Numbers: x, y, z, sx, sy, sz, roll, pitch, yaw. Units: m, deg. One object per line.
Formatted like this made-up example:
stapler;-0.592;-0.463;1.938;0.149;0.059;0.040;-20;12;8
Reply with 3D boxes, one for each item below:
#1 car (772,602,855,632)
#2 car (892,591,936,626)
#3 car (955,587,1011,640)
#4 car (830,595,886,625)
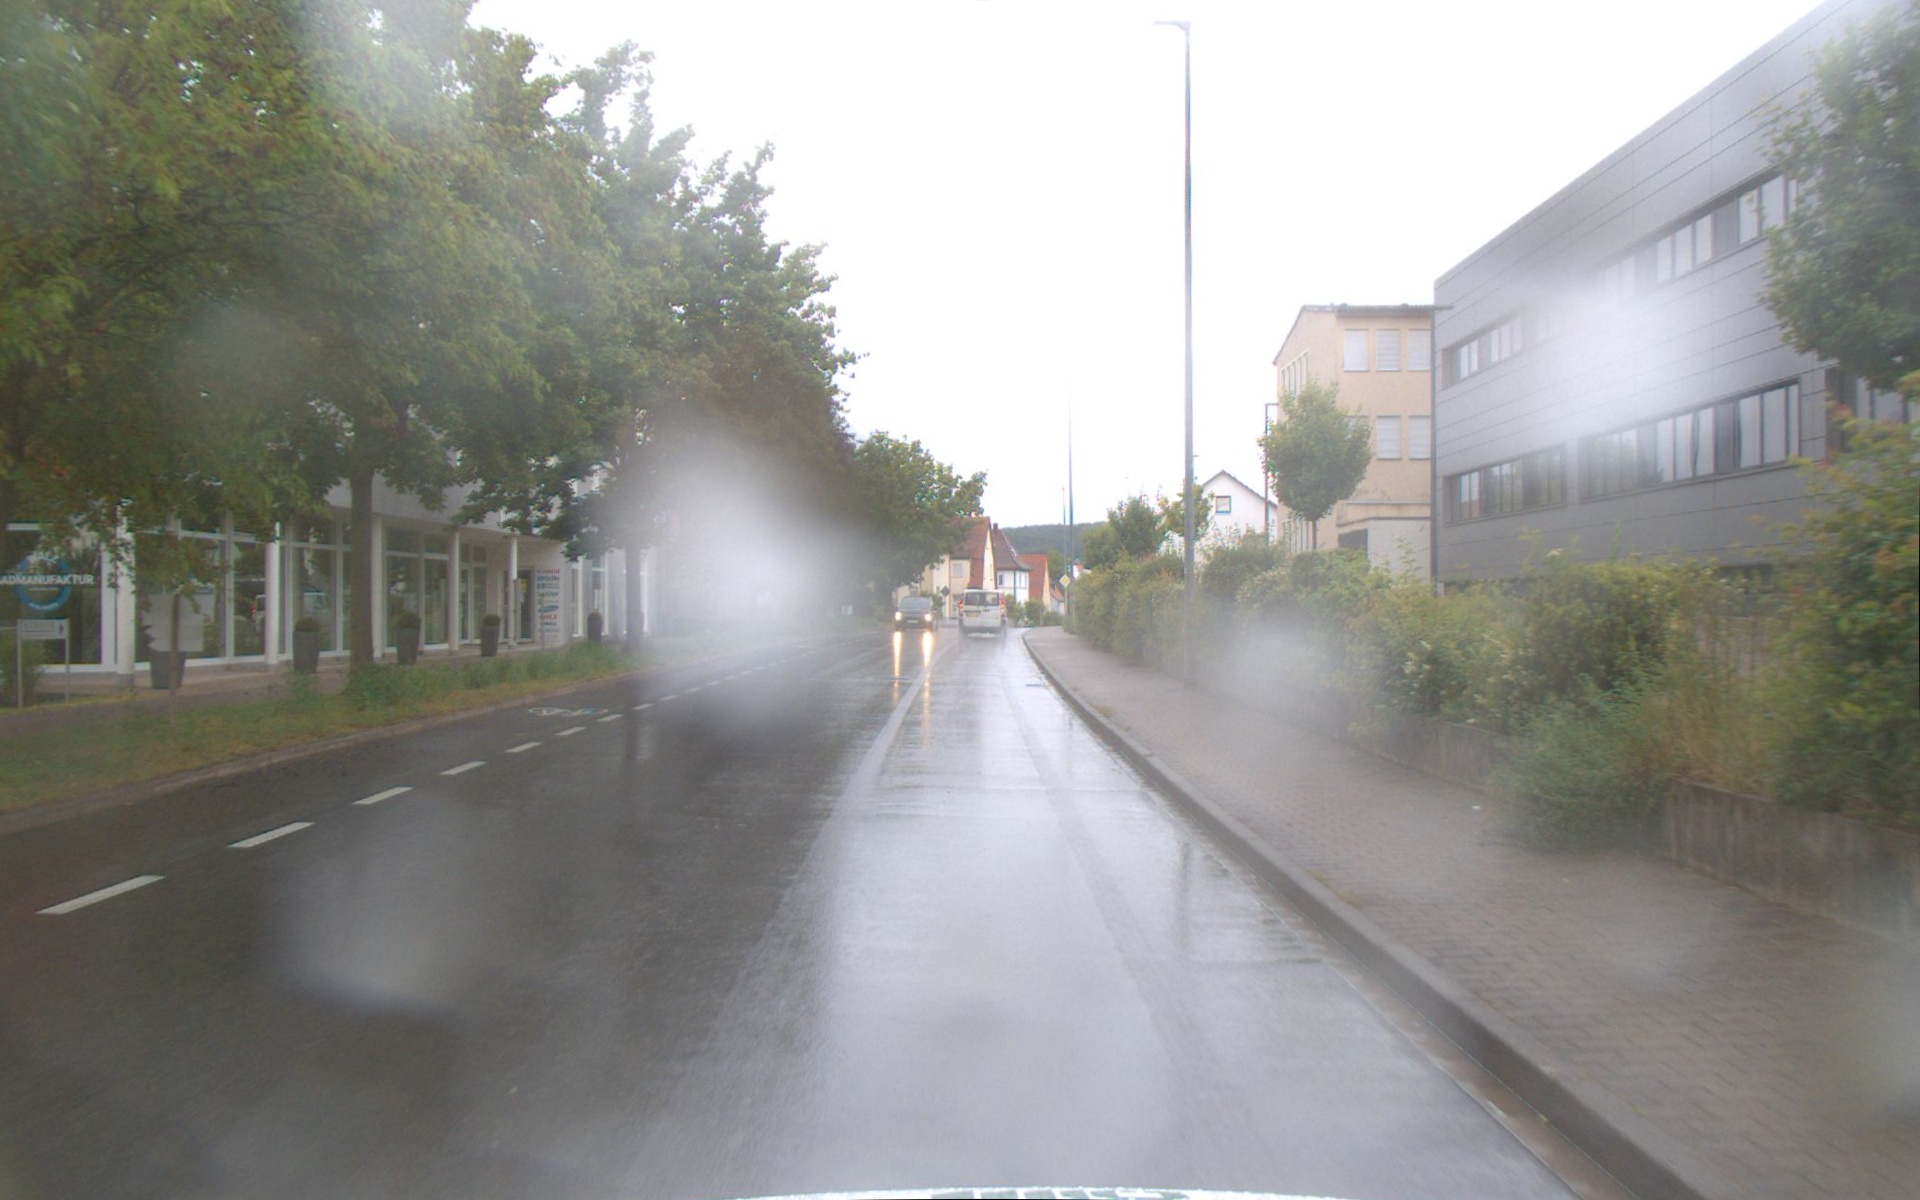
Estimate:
car;-7.101;0.836;80.509;3.819;1.306;1.582;-2;-1;2
car;-2.156;0.379;78.324;1.812;1.582;4.503;1;1;2
car;0.851;0.497;65.026;2.074;1.921;4.501;1;1;-1
car;-5.463;0.544;89.024;2.847;1.481;1.253;-2;-3;2
